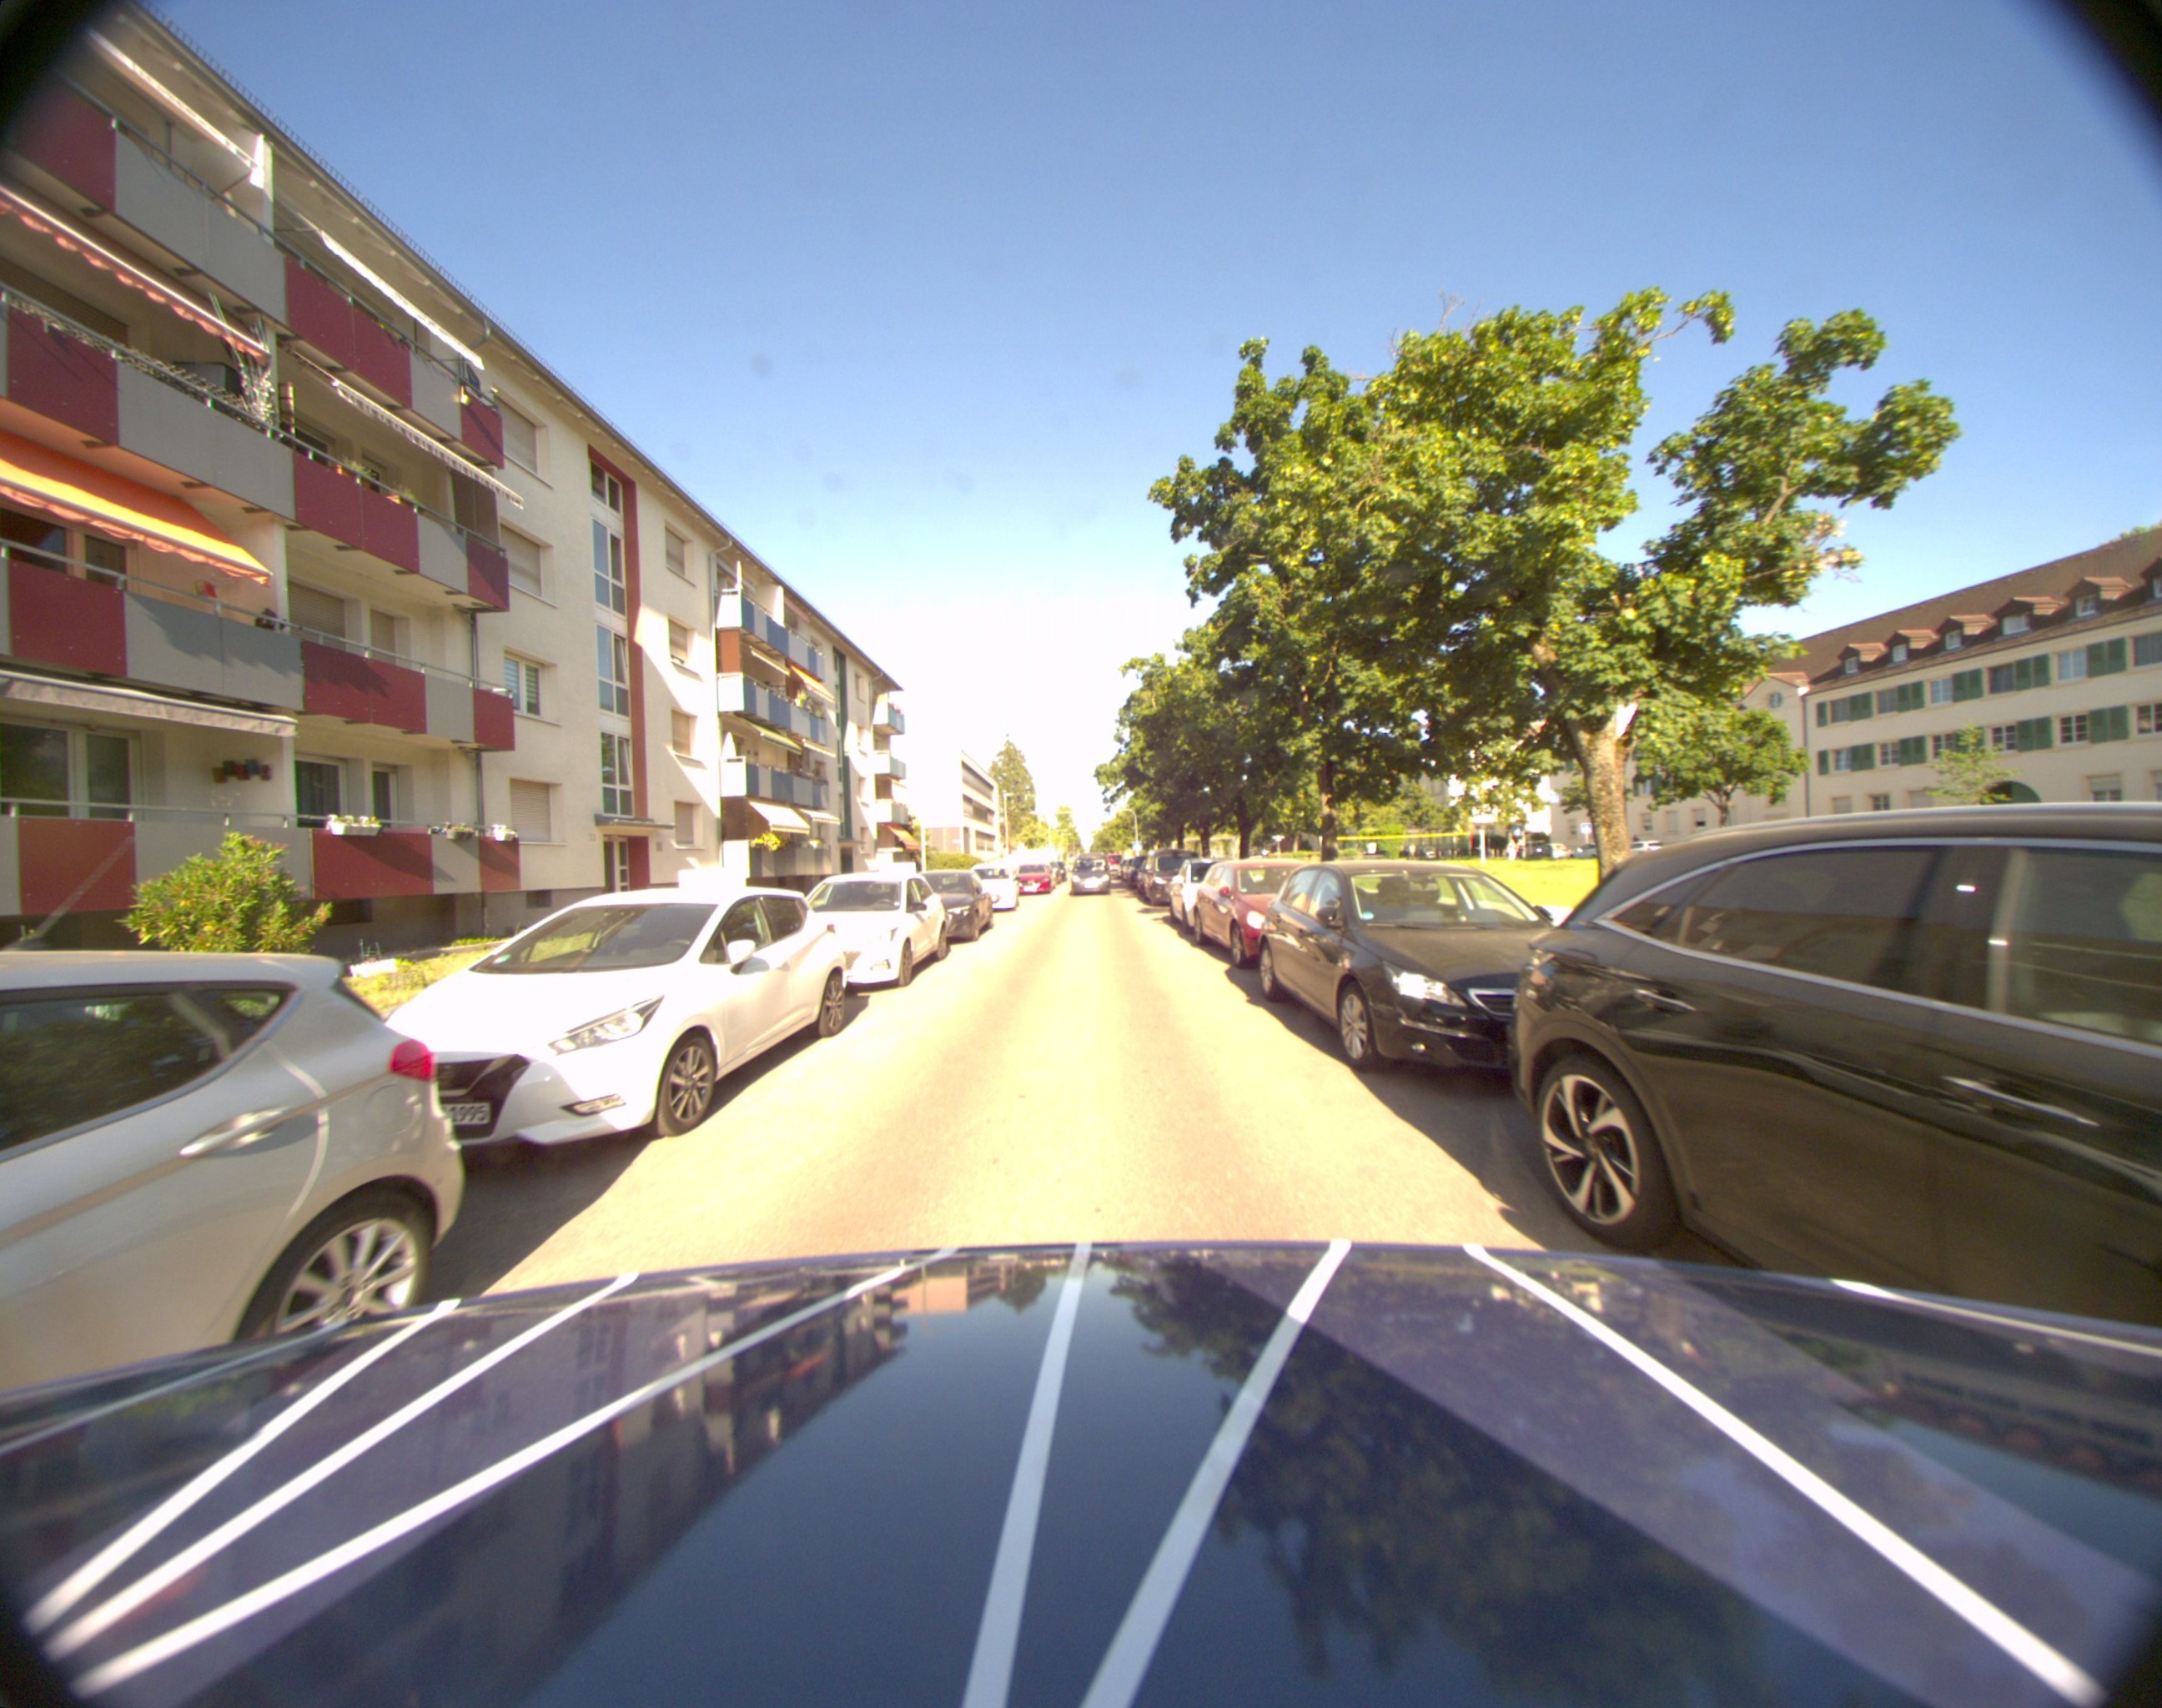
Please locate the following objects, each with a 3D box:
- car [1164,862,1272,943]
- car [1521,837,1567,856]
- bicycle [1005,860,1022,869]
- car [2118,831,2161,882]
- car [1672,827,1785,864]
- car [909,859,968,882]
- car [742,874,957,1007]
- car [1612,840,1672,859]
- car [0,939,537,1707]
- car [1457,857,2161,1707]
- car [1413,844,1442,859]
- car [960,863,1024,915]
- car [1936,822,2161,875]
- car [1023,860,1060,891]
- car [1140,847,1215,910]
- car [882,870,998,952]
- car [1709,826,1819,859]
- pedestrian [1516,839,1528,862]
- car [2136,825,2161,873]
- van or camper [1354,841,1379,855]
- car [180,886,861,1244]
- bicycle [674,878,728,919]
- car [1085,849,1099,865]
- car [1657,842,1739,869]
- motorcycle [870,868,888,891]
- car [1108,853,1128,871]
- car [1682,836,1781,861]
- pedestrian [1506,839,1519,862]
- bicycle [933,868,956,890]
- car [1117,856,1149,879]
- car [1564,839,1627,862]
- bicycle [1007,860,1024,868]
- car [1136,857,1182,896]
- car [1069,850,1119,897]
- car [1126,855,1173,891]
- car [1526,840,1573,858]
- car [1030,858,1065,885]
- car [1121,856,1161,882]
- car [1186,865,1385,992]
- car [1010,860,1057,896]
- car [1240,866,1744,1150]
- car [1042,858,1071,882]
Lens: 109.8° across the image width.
[{"bbox_3d":[2.774,0.929,16.095,1.590,1.484,3.685,0,0,0],"label":"car"},{"bbox_3d":[51.366,-0.840,84.438,3.812,1.944,2.043,-2,0,3],"label":"car"},{"bbox_3d":[-8.505,1.305,96.250,2.030,1.057,0.883,1,0,0],"label":"bicycle"},{"bbox_3d":[38.066,0.056,25.034,2.322,1.740,4.009,-2,0,2],"label":"car"},{"bbox_3d":[38.352,-0.471,45.243,2.226,1.973,5.258,-2,0,1],"label":"car"},{"bbox_3d":[-11.548,1.339,61.701,4.418,1.614,1.914,-2,0,-1],"label":"car"},{"bbox_3d":[-3.071,1.075,11.028,1.725,1.427,4.153,-2,0,1],"label":"car"},{"bbox_3d":[43.807,-0.326,59.423,1.773,1.348,4.000,-2,0,0],"label":"car"},{"bbox_3d":[-3.160,1.111,0.966,1.853,1.457,4.202,-3,0,0],"label":"car"},{"bbox_3d":[2.763,0.822,1.447,1.824,1.600,4.739,-1,0,1],"label":"car"},{"bbox_3d":[44.142,-0.322,96.846,1.954,1.783,4.001,-2,0,2],"label":"car"},{"bbox_3d":[-2.840,1.076,25.040,1.752,1.490,3.860,-2,0,-2],"label":"car"},{"bbox_3d":[38.131,-0.208,30.091,2.456,1.809,5.454,-2,0,2],"label":"car"},{"bbox_3d":[-2.147,1.127,41.802,1.878,1.525,4.492,-2,0,-2],"label":"car"},{"bbox_3d":[3.035,0.705,24.897,1.869,1.774,4.991,-2,1,1],"label":"car"},{"bbox_3d":[-2.875,1.111,16.457,1.703,1.427,4.471,-1,0,0],"label":"car"},{"bbox_3d":[43.749,-0.703,48.882,2.226,1.973,5.257,-2,0,-1],"label":"car"},{"bbox_3d":[33.486,-0.269,57.735,0.544,1.675,0.674,-2,0,6],"label":"pedestrian"},{"bbox_3d":[43.676,-0.243,28.547,2.269,1.894,4.167,-2,0,0],"label":"car"},{"bbox_3d":[44.496,-0.960,118.565,2.273,2.002,4.374,-2,1,1],"label":"van or camper"},{"bbox_3d":[-3.250,1.088,5.654,1.882,1.466,4.140,-2,0,1],"label":"car"},{"bbox_3d":[-10.865,1.260,21.799,0.524,1.064,2.010,0,0,0],"label":"bicycle"},{"bbox_3d":[1.840,0.444,125.530,2.074,2.583,6.203,-2,0,2],"label":"car"},{"bbox_3d":[43.843,0.092,54.130,1.999,1.753,4.644,-2,0,-1],"label":"car"},{"bbox_3d":[-10.482,1.312,39.485,0.584,1.144,2.036,-2,0,-8],"label":"motorcycle"},{"bbox_3d":[4.151,0.837,85.227,2.021,1.867,4.742,-2,0,5],"label":"car"},{"bbox_3d":[41.038,-0.332,48.121,1.998,1.476,4.958,-1,0,0],"label":"car"},{"bbox_3d":[32.765,-0.249,57.751,0.544,1.675,0.750,-2,0,3],"label":"pedestrian"},{"bbox_3d":[-7.081,1.273,39.562,0.721,1.071,1.897,-2,0,3],"label":"bicycle"},{"bbox_3d":[3.621,0.906,53.654,1.840,1.444,4.967,-2,0,-1],"label":"car"},{"bbox_3d":[38.206,-0.279,56.522,1.793,1.574,4.235,-2,0,0],"label":"car"},{"bbox_3d":[-8.438,1.313,97.621,2.084,1.058,0.860,0,0,1],"label":"bicycle"},{"bbox_3d":[3.135,0.864,30.987,1.542,1.420,4.088,-2,0,2],"label":"car"},{"bbox_3d":[0.521,0.800,32.198,1.902,1.779,4.157,-2,0,0],"label":"car"},{"bbox_3d":[3.289,0.897,37.254,2.030,1.616,4.758,-1,0,2],"label":"car"},{"bbox_3d":[38.093,-0.383,61.871,1.654,1.325,3.515,-2,0,0],"label":"car"},{"bbox_3d":[-2.010,1.028,46.905,1.774,1.520,4.558,-2,0,2],"label":"car"},{"bbox_3d":[3.719,0.922,48.051,1.999,1.507,5.157,-1,0,-1],"label":"car"},{"bbox_3d":[2.829,0.944,11.650,1.760,1.483,4.668,0,0,0],"label":"car"},{"bbox_3d":[-2.169,1.084,36.067,1.848,1.464,5.065,-2,0,0],"label":"car"},{"bbox_3d":[2.762,0.897,6.479,1.878,1.510,4.470,0,0,0],"label":"car"},{"bbox_3d":[-1.660,1.060,52.374,1.662,1.465,3.793,-4,0,1],"label":"car"}]
